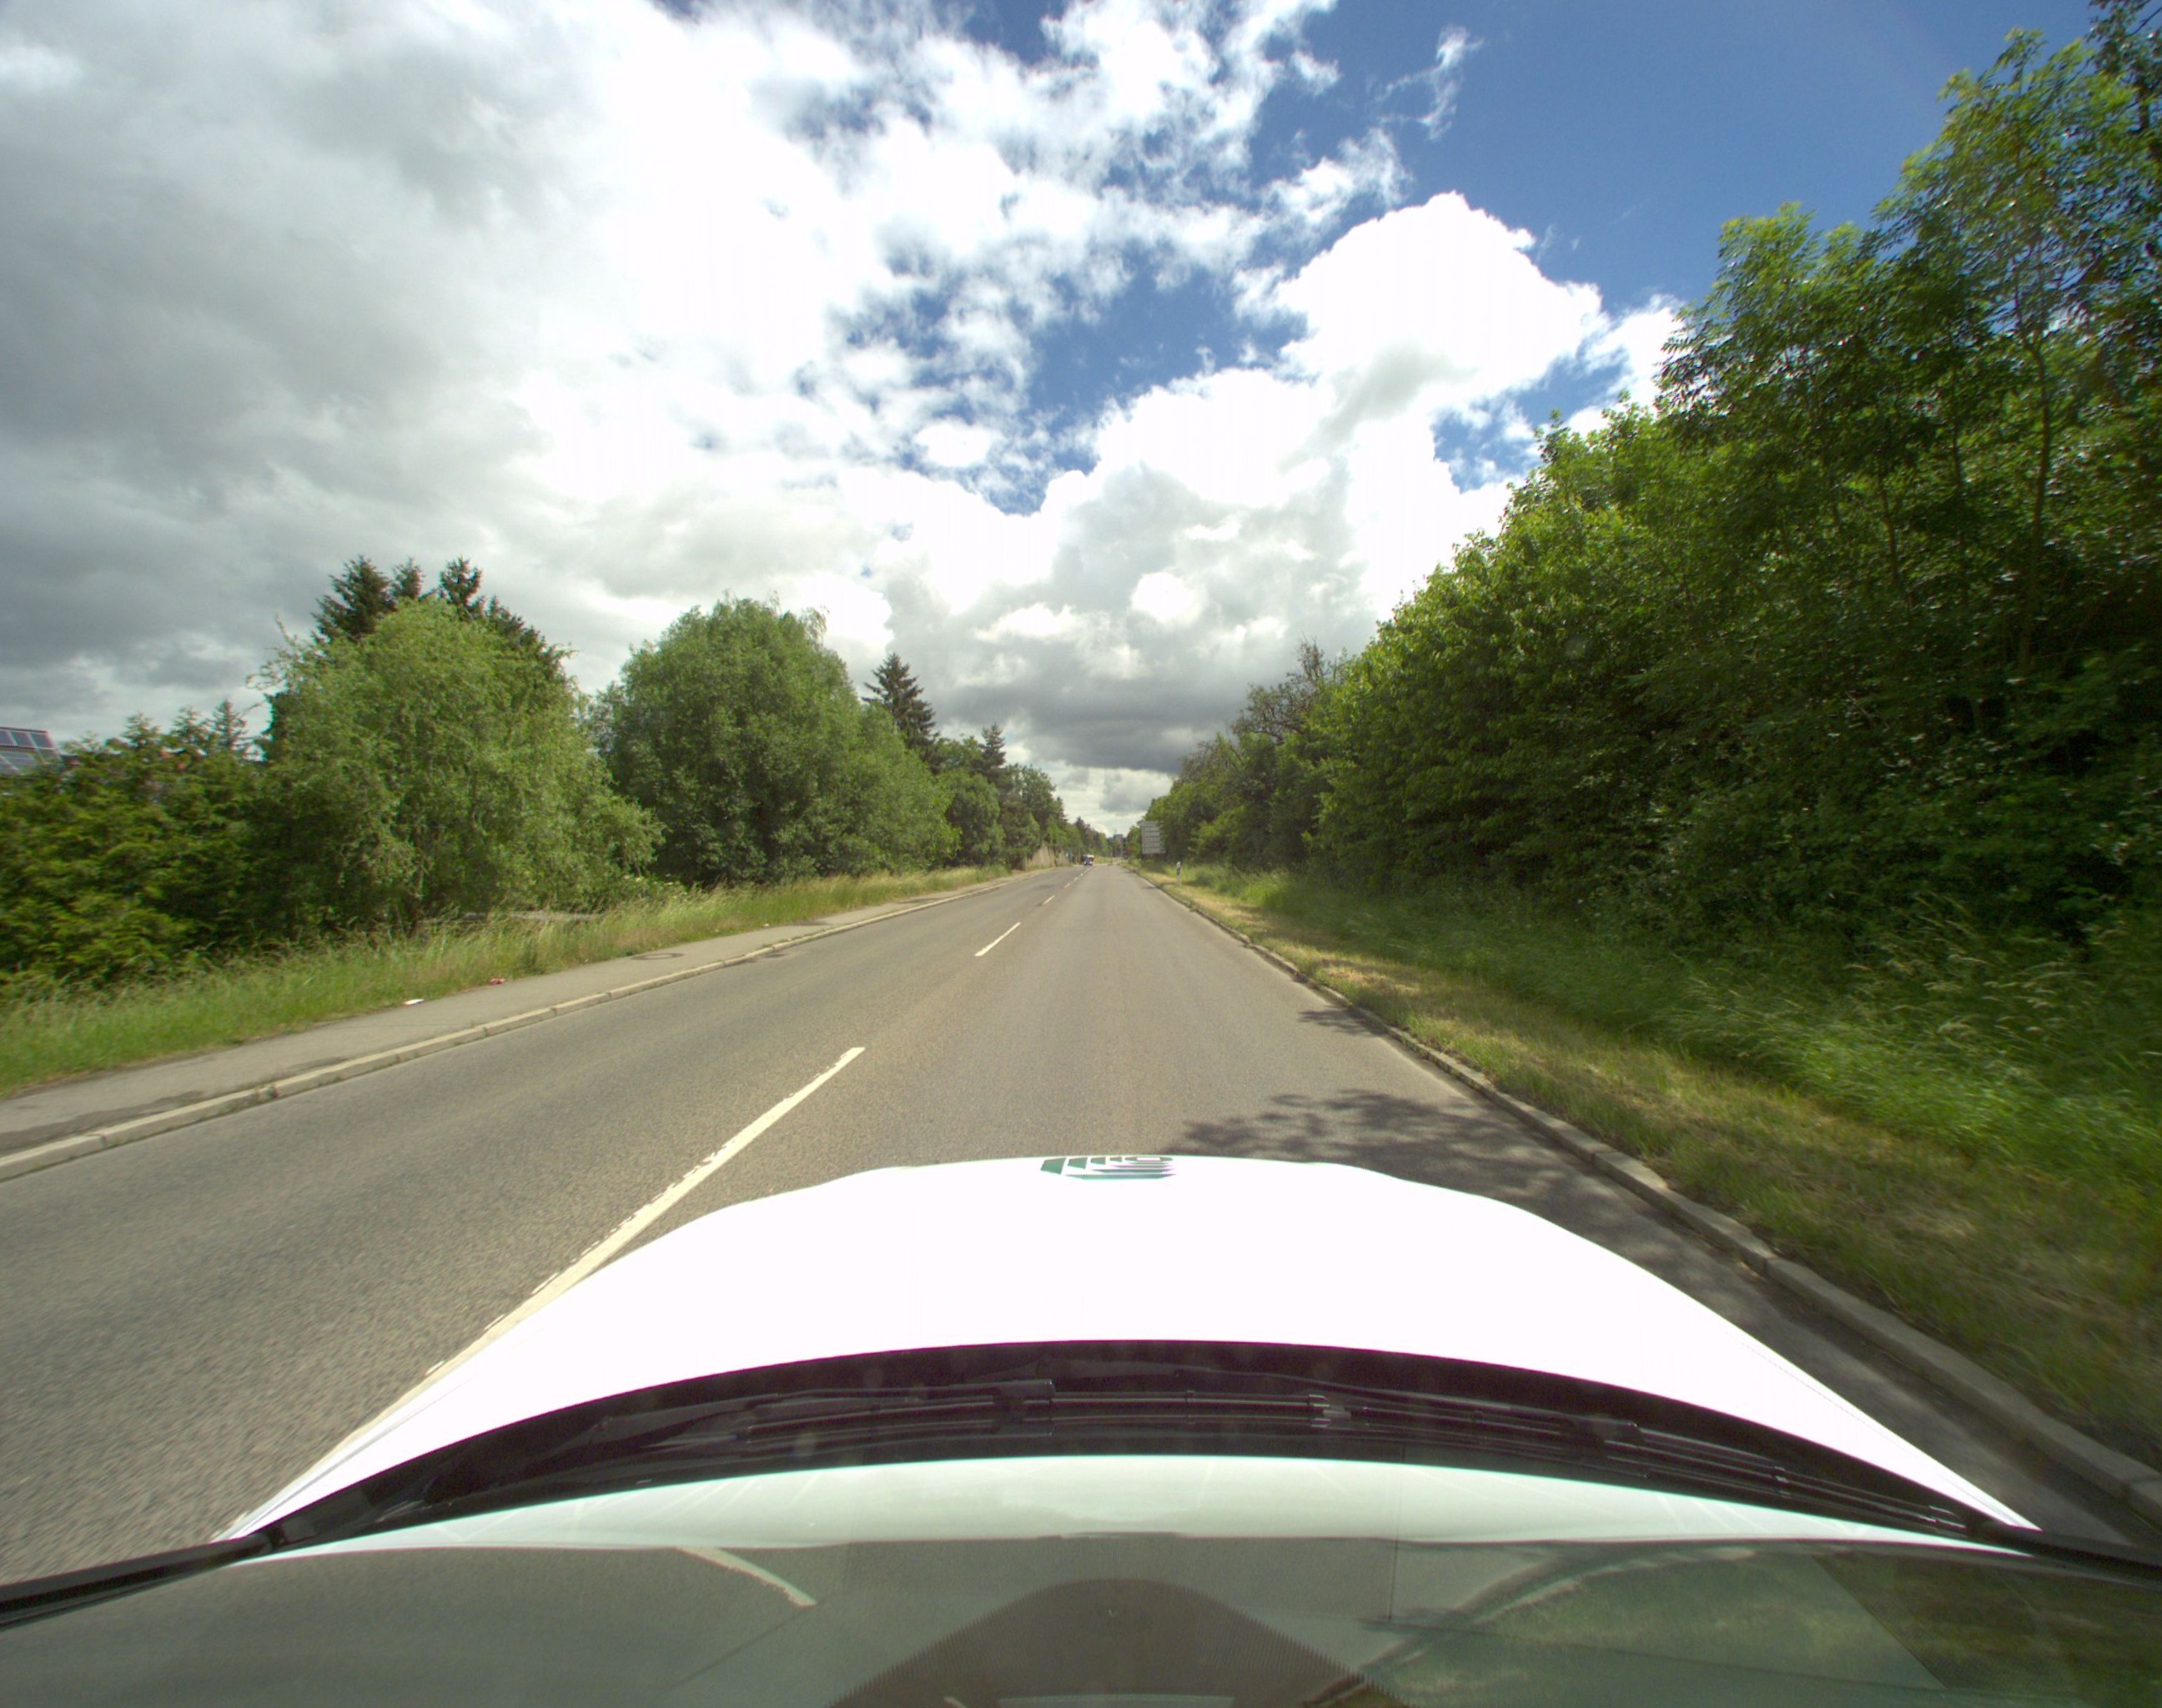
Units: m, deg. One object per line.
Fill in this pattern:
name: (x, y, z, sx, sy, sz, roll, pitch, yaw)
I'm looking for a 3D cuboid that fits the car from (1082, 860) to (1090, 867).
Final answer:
car: (1.200, 2.249, 190.803, 1.745, 1.464, 4.001, -3, -1, 1)
